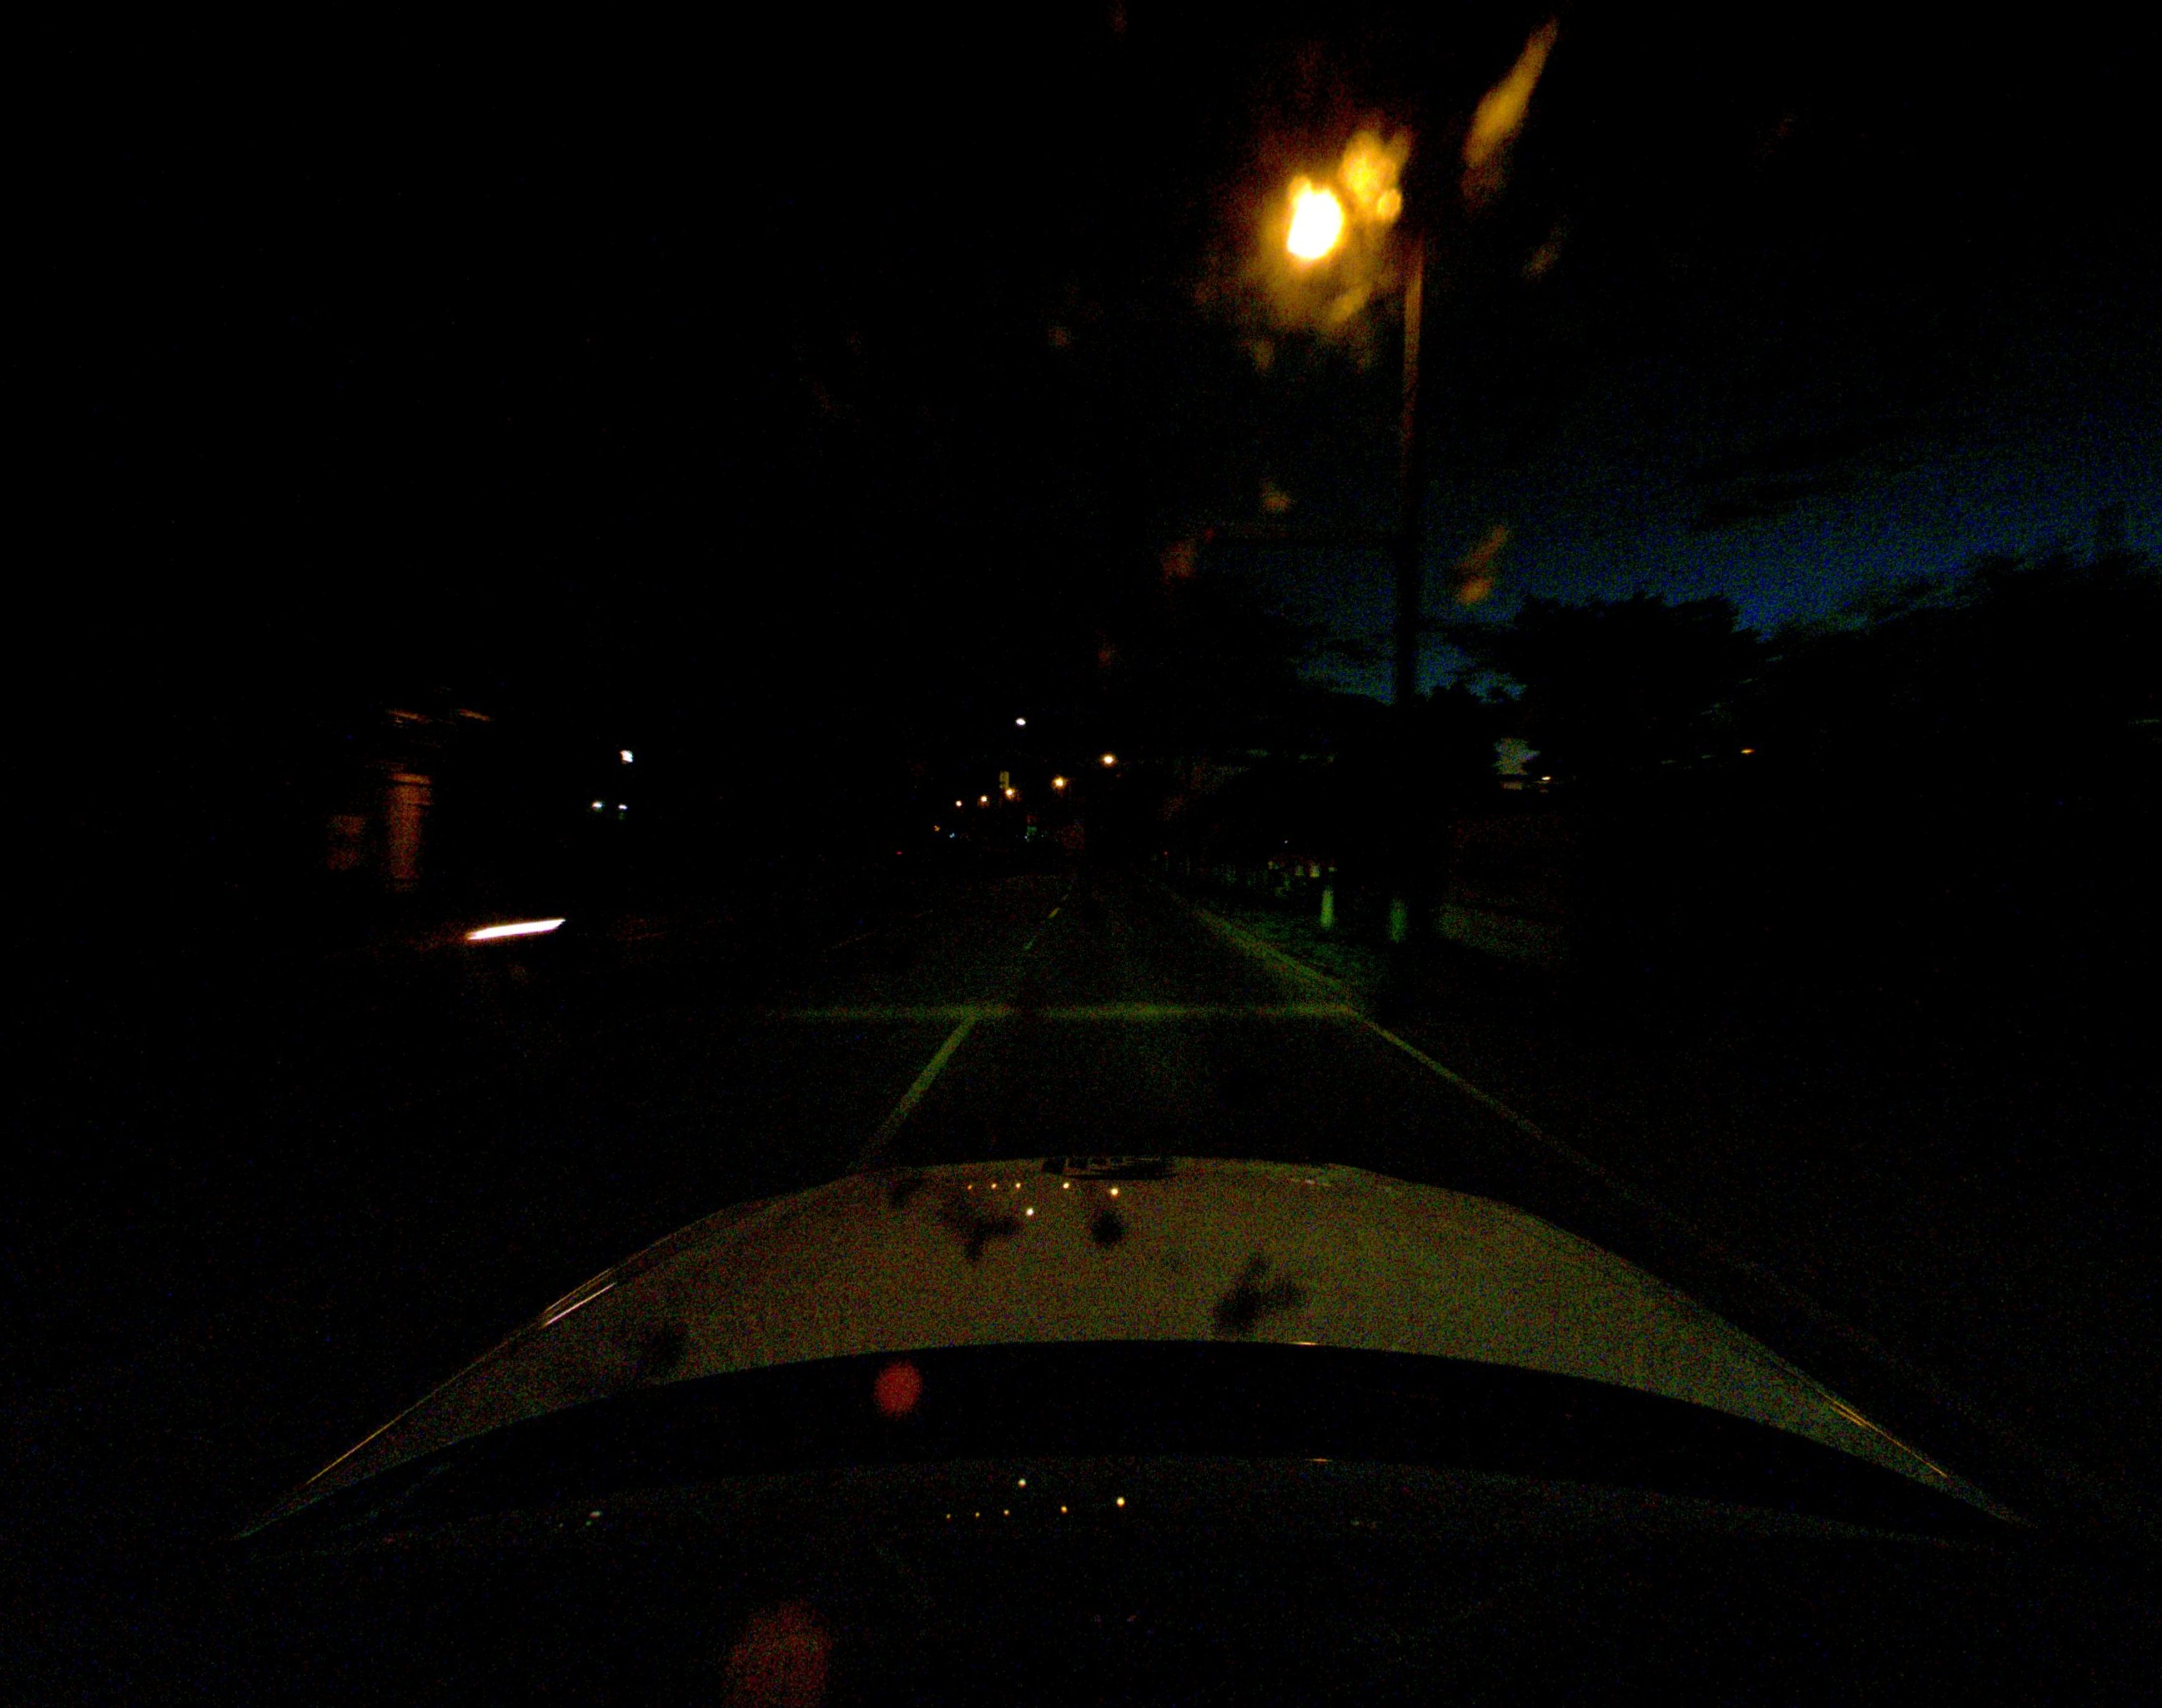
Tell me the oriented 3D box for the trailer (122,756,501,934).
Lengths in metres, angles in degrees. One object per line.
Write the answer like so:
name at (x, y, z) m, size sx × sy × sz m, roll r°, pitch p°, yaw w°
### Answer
trailer at (-12.652, -0.166, 13.645) m, size 4.334 × 2.719 × 2.000 m, roll -1°, pitch 1°, yaw -1°

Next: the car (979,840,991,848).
car at (-18.921, -2.062, 159.833) m, size 1.856 × 1.519 × 3.799 m, roll -1°, pitch 1°, yaw -15°

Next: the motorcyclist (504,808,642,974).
motorcyclist at (-6.099, 0.432, 9.840) m, size 1.132 × 1.900 × 0.832 m, roll 1°, pitch 0°, yaw -6°

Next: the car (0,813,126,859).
car at (-39.405, -0.693, 30.526) m, size 4.340 × 1.589 × 1.902 m, roll 2°, pitch 0°, yaw -14°

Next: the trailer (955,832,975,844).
trailer at (-26.836, -3.740, 187.911) m, size 3.191 × 2.748 × 10.659 m, roll -1°, pitch 1°, yaw -16°

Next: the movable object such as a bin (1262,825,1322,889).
movable object such as a bin at (8.149, 0.118, 31.554) m, size 1.680 × 2.383 × 1.611 m, roll 1°, pitch 0°, yaw -11°

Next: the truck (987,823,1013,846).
truck at (-14.590, -3.498, 145.171) m, size 3.523 × 3.982 × 10.301 m, roll -1°, pitch 1°, yaw -12°

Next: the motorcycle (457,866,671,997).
motorcycle at (-6.109, 0.830, 9.920) m, size 0.996 × 1.305 × 2.821 m, roll 1°, pitch 0°, yaw -5°

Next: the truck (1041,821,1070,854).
truck at (-3.247, -2.039, 102.201) m, size 2.831 × 3.983 × 6.028 m, roll -1°, pitch 1°, yaw -11°

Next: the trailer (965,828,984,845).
trailer at (-22.557, -3.637, 172.233) m, size 2.694 × 3.464 × 7.762 m, roll 1°, pitch 1°, yaw -18°

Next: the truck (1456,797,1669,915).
truck at (13.194, 0.020, 23.141) m, size 2.173 × 2.748 × 7.325 m, roll 2°, pitch 0°, yaw 4°

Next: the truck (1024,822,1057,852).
truck at (-5.683, -2.324, 112.627) m, size 2.833 × 3.982 × 10.298 m, roll -1°, pitch 1°, yaw -13°

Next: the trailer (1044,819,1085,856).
trailer at (-2.150, -1.968, 95.724) m, size 2.809 × 3.982 × 13.929 m, roll -1°, pitch 1°, yaw -10°
